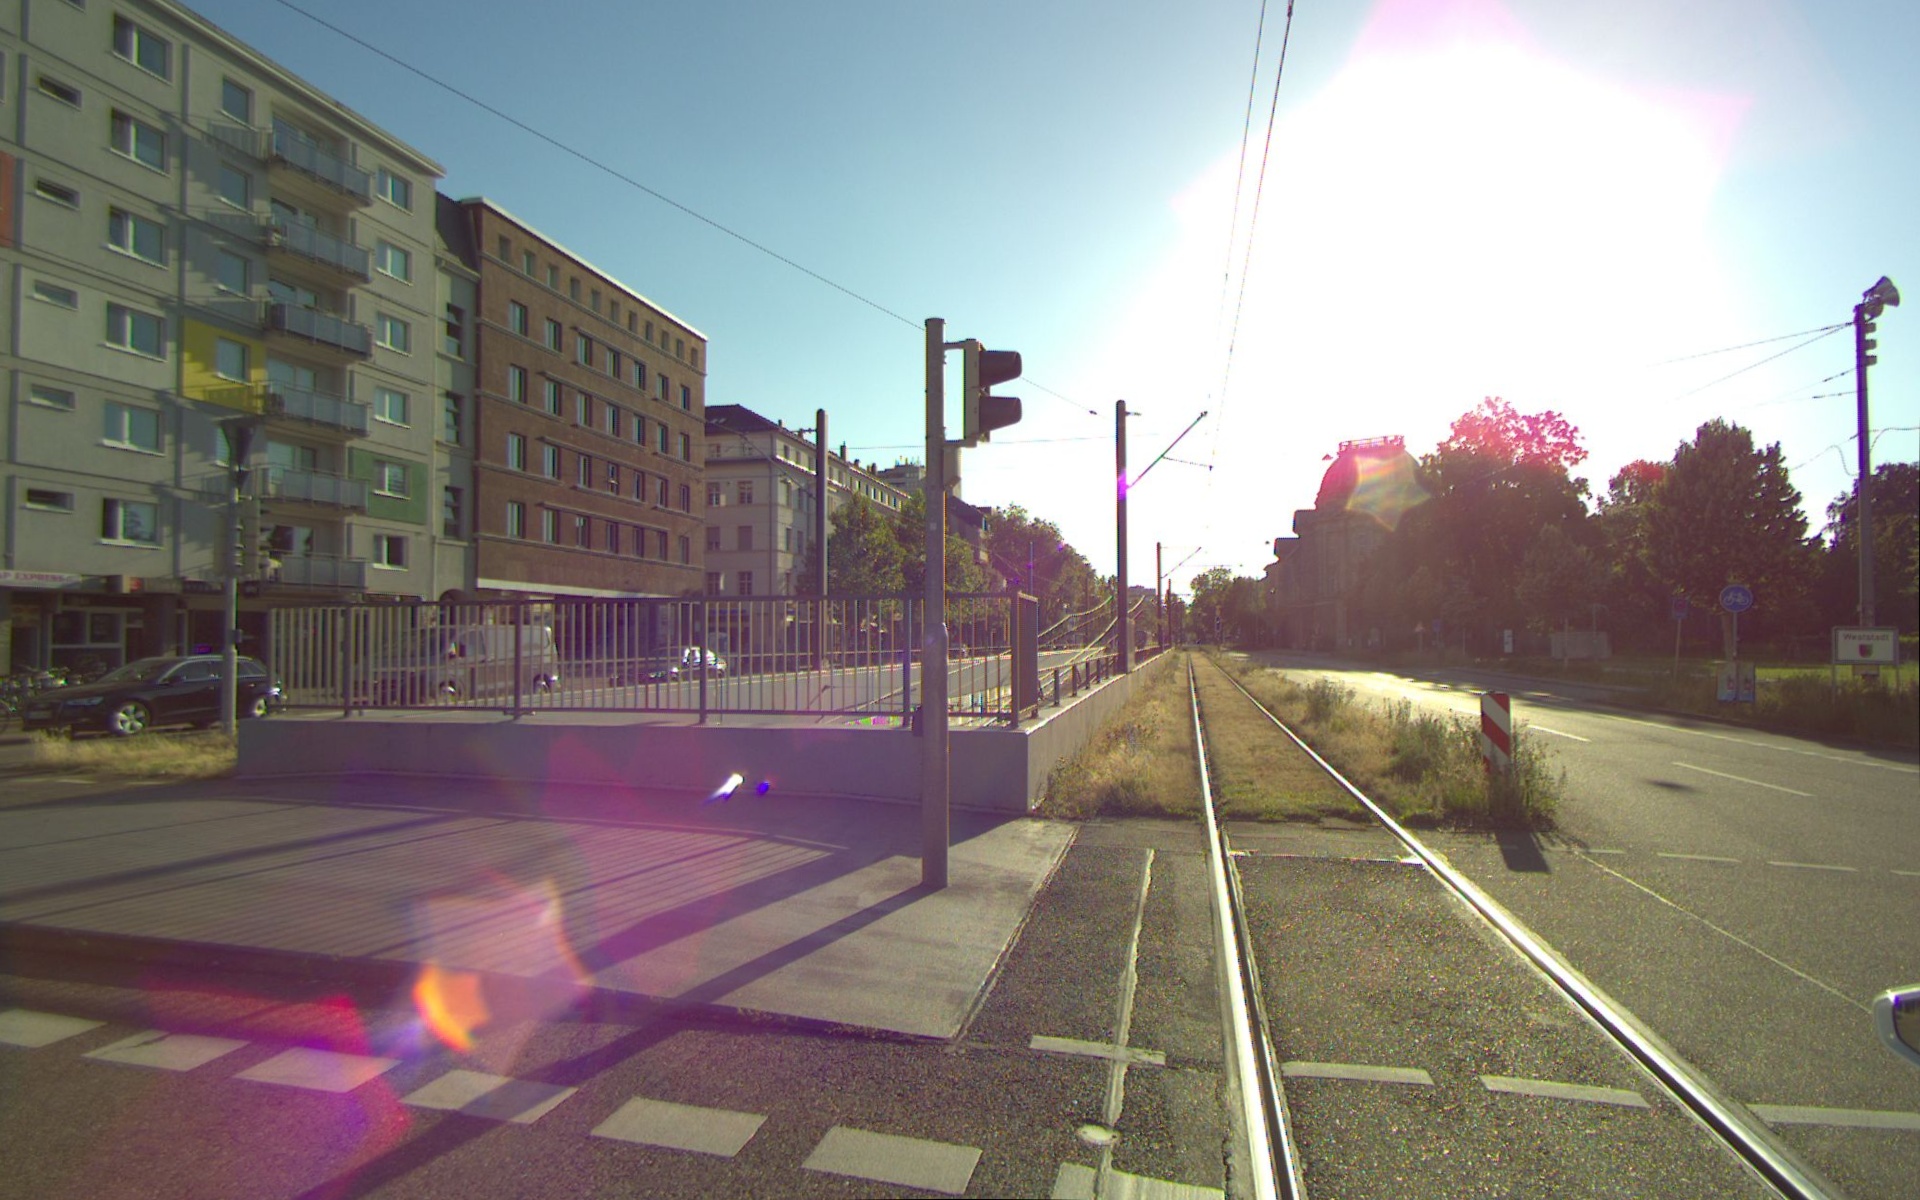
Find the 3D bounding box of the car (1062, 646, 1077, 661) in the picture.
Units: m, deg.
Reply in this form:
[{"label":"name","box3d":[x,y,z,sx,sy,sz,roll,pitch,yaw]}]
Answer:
[{"label":"car","box3d":[17.872,8.703,163.490,1.959,2.274,4.003,-1,-2,13]}]

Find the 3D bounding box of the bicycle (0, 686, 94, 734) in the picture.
[{"label":"bicycle","box3d":[-21.553,2.565,23.628,2.253,1.065,0.563,-1,-2,14]}]

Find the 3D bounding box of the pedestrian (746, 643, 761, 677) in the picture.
[{"label":"pedestrian","box3d":[-12.734,3.684,61.913,0.705,2.040,0.729,0,-2,7]}]

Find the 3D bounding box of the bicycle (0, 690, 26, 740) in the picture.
[{"label":"bicycle","box3d":[-21.886,2.530,22.170,2.253,1.065,0.737,-1,-3,14]}]

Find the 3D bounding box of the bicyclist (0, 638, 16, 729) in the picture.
[{"label":"bicyclist","box3d":[-17.455,1.481,17.713,0.944,1.618,0.739,-2,-4,15]}]

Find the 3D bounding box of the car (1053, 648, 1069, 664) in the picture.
[{"label":"car","box3d":[13.185,7.353,131.144,1.959,2.040,4.004,-1,-3,8]}]

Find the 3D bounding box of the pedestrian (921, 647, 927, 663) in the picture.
[{"label":"pedestrian","box3d":[-3.788,5.758,105.441,0.482,1.731,0.550,-1,-2,14]}]

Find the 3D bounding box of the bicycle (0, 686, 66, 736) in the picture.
[{"label":"bicycle","box3d":[-21.727,2.528,22.972,2.253,1.065,0.737,-1,-3,14]}]

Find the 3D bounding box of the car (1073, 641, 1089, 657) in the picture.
[{"label":"car","box3d":[16.006,6.421,132.377,1.959,2.040,4.004,-1,-3,8]}]

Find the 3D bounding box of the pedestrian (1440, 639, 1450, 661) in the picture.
[{"label":"pedestrian","box3d":[41.191,4.223,85.381,0.672,1.846,0.535,-1,-2,18]}]

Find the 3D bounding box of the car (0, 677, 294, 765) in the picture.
[{"label":"car","box3d":[-15.073,2.169,18.854,1.765,1.330,4.205,-1,-3,12]}]

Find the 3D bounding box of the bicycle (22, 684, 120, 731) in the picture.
[{"label":"bicycle","box3d":[-21.412,2.578,24.200,2.253,1.065,0.563,-1,-2,14]}]

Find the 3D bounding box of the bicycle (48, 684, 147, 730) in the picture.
[{"label":"bicycle","box3d":[-21.258,2.618,24.762,2.253,1.065,0.648,-1,-2,14]}]

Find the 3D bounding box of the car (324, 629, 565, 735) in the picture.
[{"label":"car","box3d":[-11.004,1.703,21.949,1.959,2.040,4.943,-1,-3,12]}]

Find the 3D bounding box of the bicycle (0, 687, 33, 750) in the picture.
[{"label":"bicycle","box3d":[-17.500,2.090,17.460,0.932,1.111,1.784,-2,-4,14]}]

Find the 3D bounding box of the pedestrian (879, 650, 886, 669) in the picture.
[{"label":"pedestrian","box3d":[-7.140,5.461,92.815,0.482,1.731,0.550,-1,-2,14]}]

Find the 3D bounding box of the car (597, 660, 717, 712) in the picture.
[{"label":"car","box3d":[-9.037,2.549,30.275,1.765,1.392,3.917,-2,-3,12]}]
